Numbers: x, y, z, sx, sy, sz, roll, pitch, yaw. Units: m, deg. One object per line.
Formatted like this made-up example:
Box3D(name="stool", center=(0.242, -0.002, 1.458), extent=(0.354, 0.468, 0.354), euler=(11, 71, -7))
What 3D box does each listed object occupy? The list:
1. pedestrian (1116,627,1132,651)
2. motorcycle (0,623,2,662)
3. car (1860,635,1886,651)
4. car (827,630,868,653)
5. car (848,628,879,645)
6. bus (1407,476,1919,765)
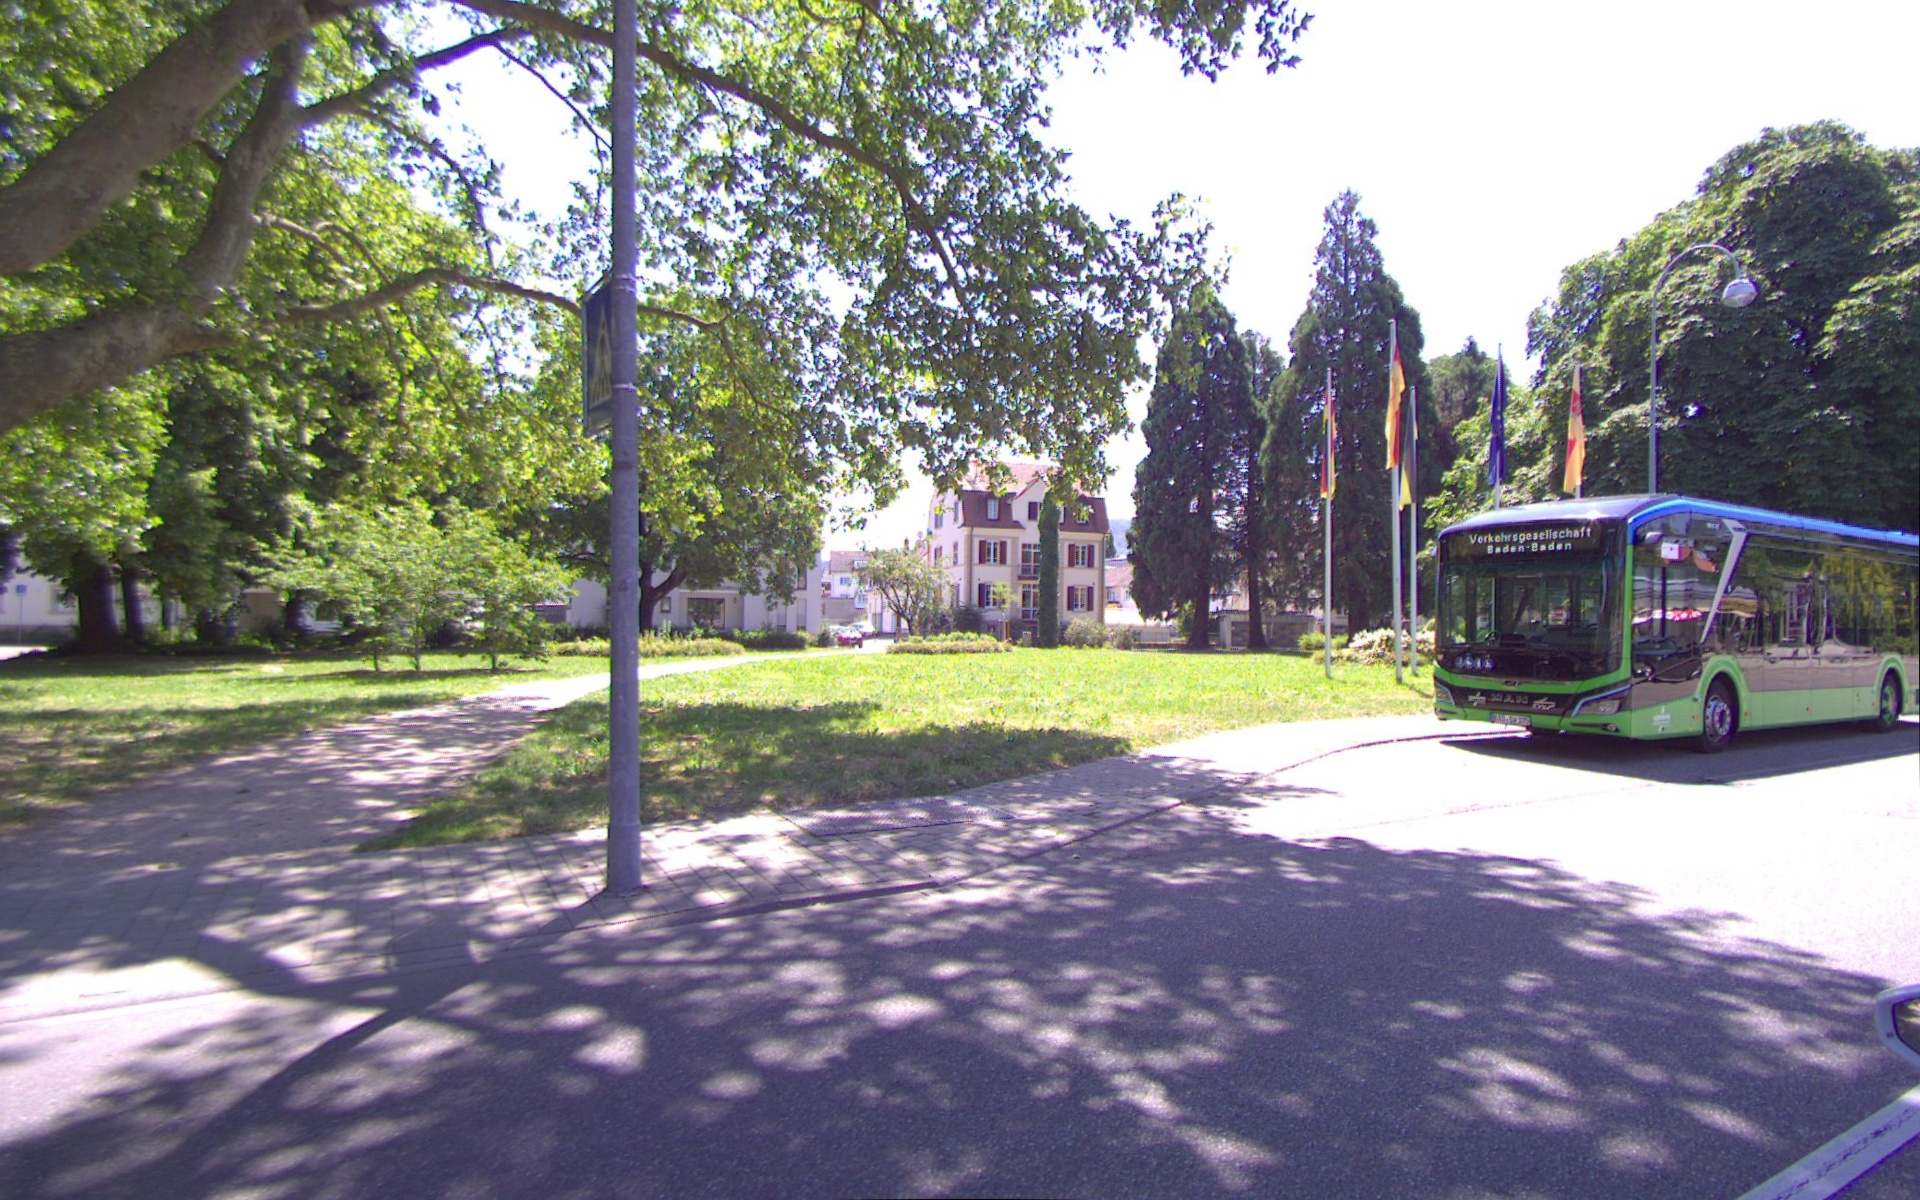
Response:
Box3D(name="pedestrian", center=(10.106, 2.396, 61.805), extent=(0.811, 1.389, 0.618), euler=(3, 0, 19))
Box3D(name="motorcycle", center=(-35.651, 1.569, 36.475), extent=(0.705, 1.445, 2.243), euler=(1, -1, -30))
Box3D(name="car", center=(84.797, 4.023, 93.260), extent=(3.776, 1.429, 1.535), euler=(2, -2, -44))
Box3D(name="car", center=(-8.422, 3.089, 74.777), extent=(1.972, 1.604, 3.979), euler=(2, -3, -23))
Box3D(name="car", center=(-9.688, 3.675, 100.366), extent=(1.972, 1.604, 3.979), euler=(2, -3, -23))
Box3D(name="bus", center=(12.152, 0.368, 15.984), extent=(12.285, 3.326, 2.794), euler=(1, -1, -32))
